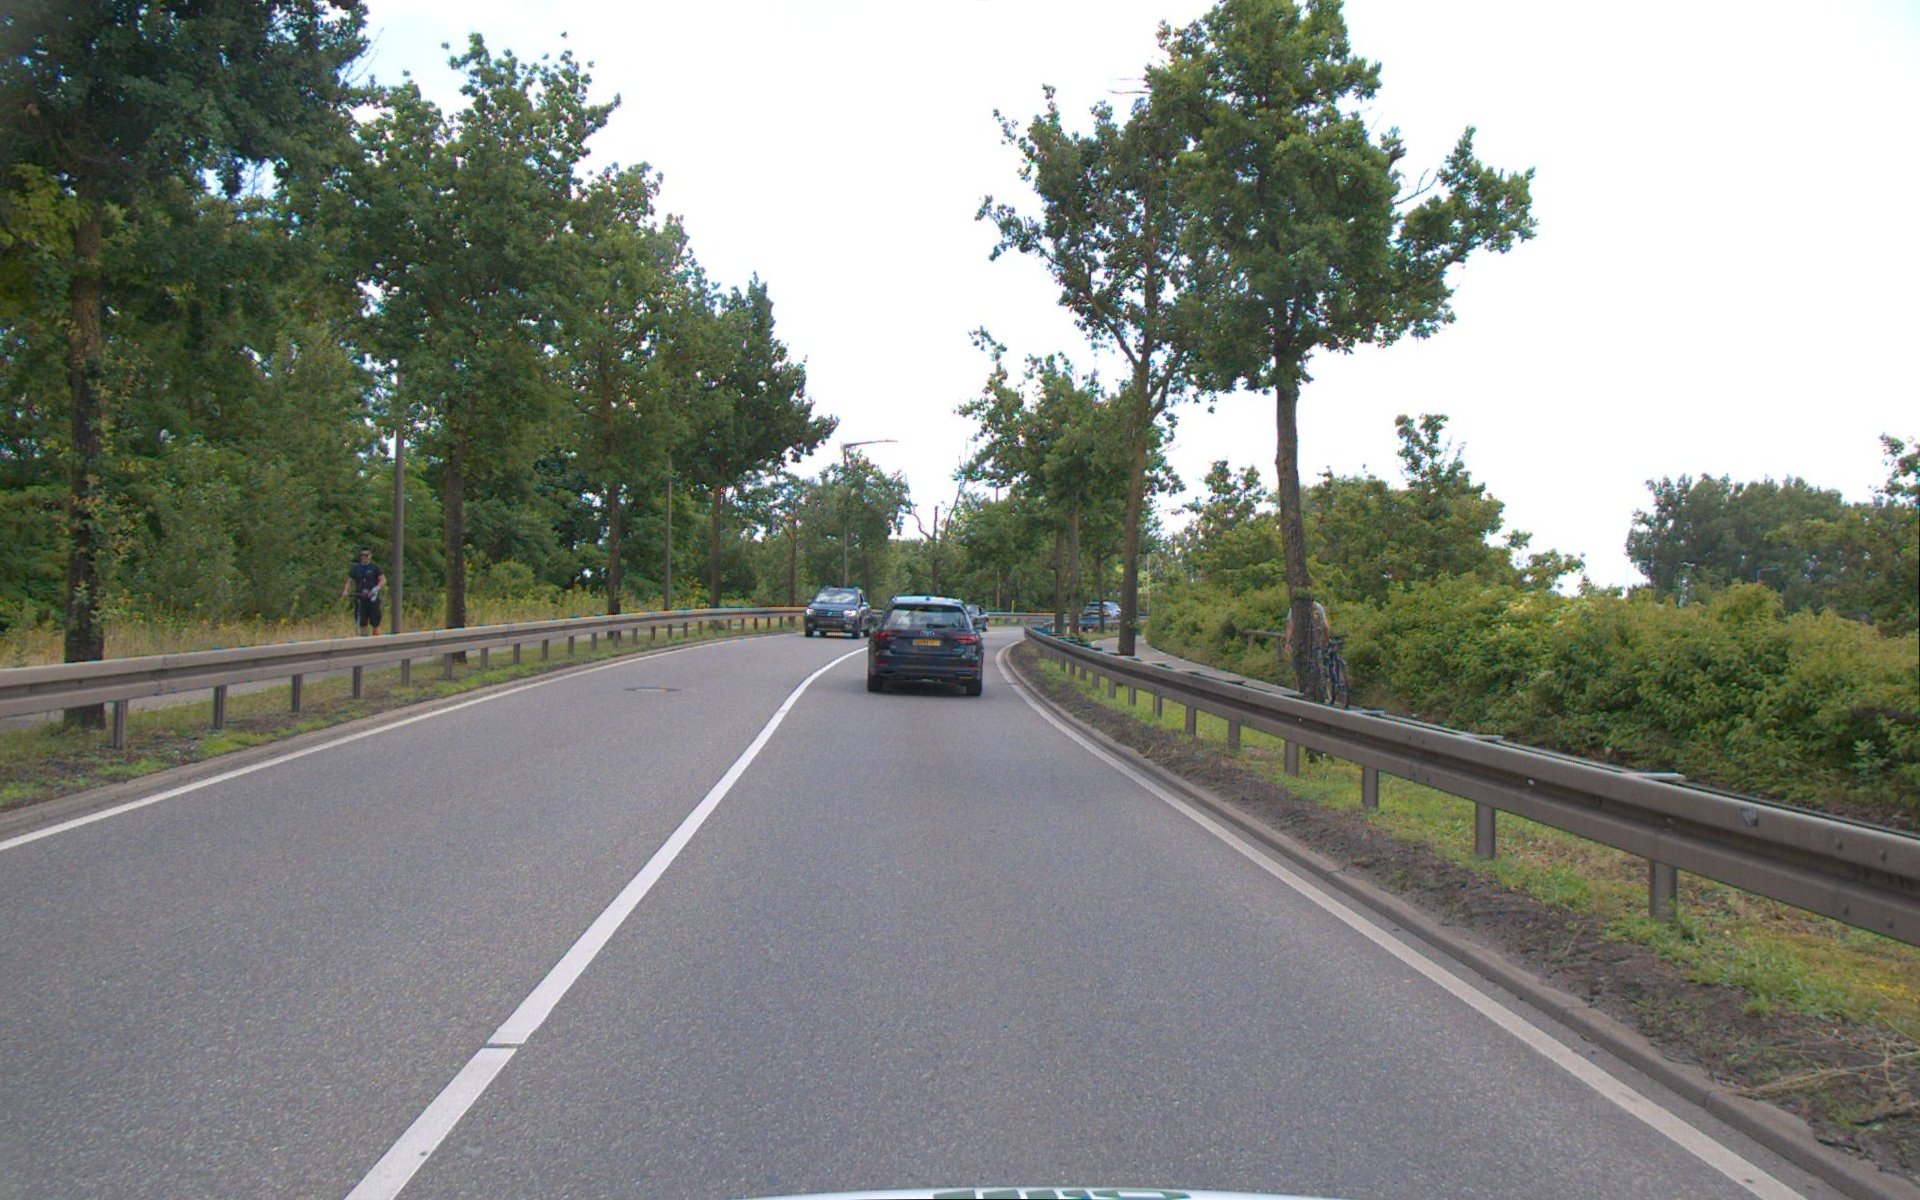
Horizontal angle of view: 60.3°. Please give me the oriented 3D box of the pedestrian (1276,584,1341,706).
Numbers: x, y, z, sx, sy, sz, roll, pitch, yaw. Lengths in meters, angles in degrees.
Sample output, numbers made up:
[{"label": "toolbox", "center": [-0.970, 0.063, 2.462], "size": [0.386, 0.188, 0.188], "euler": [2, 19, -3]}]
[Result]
[{"label": "pedestrian", "center": [4.871, 0.617, 23.165], "size": [0.644, 1.671, 1.054], "euler": [0, 0, -2]}]

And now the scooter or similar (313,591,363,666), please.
[{"label": "scooter or similar", "center": [-10.272, 0.465, 27.345], "size": [0.622, 1.228, 0.558], "euler": [-1, 1, -4]}]

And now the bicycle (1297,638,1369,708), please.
[{"label": "bicycle", "center": [5.233, 1.009, 23.265], "size": [0.545, 0.884, 1.825], "euler": [0, 0, -2]}]

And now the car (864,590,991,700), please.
[{"label": "car", "center": [-0.476, 0.640, 26.123], "size": [1.790, 1.517, 4.206], "euler": [2, 0, 0]}]

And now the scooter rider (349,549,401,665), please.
[{"label": "scooter rider", "center": [-9.737, 0.113, 27.535], "size": [0.648, 1.889, 0.619], "euler": [-1, 0, -3]}]

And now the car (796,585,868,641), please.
[{"label": "car", "center": [-4.010, 0.393, 52.406], "size": [1.743, 1.635, 4.159], "euler": [2, 0, 2]}]

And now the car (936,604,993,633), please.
[{"label": "car", "center": [0.228, 0.837, 76.265], "size": [1.559, 1.239, 3.792], "euler": [3, 0, 17]}]

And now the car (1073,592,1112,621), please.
[{"label": "car", "center": [7.270, 0.321, 90.781], "size": [1.545, 1.546, 4.003], "euler": [1, 0, 13]}]
